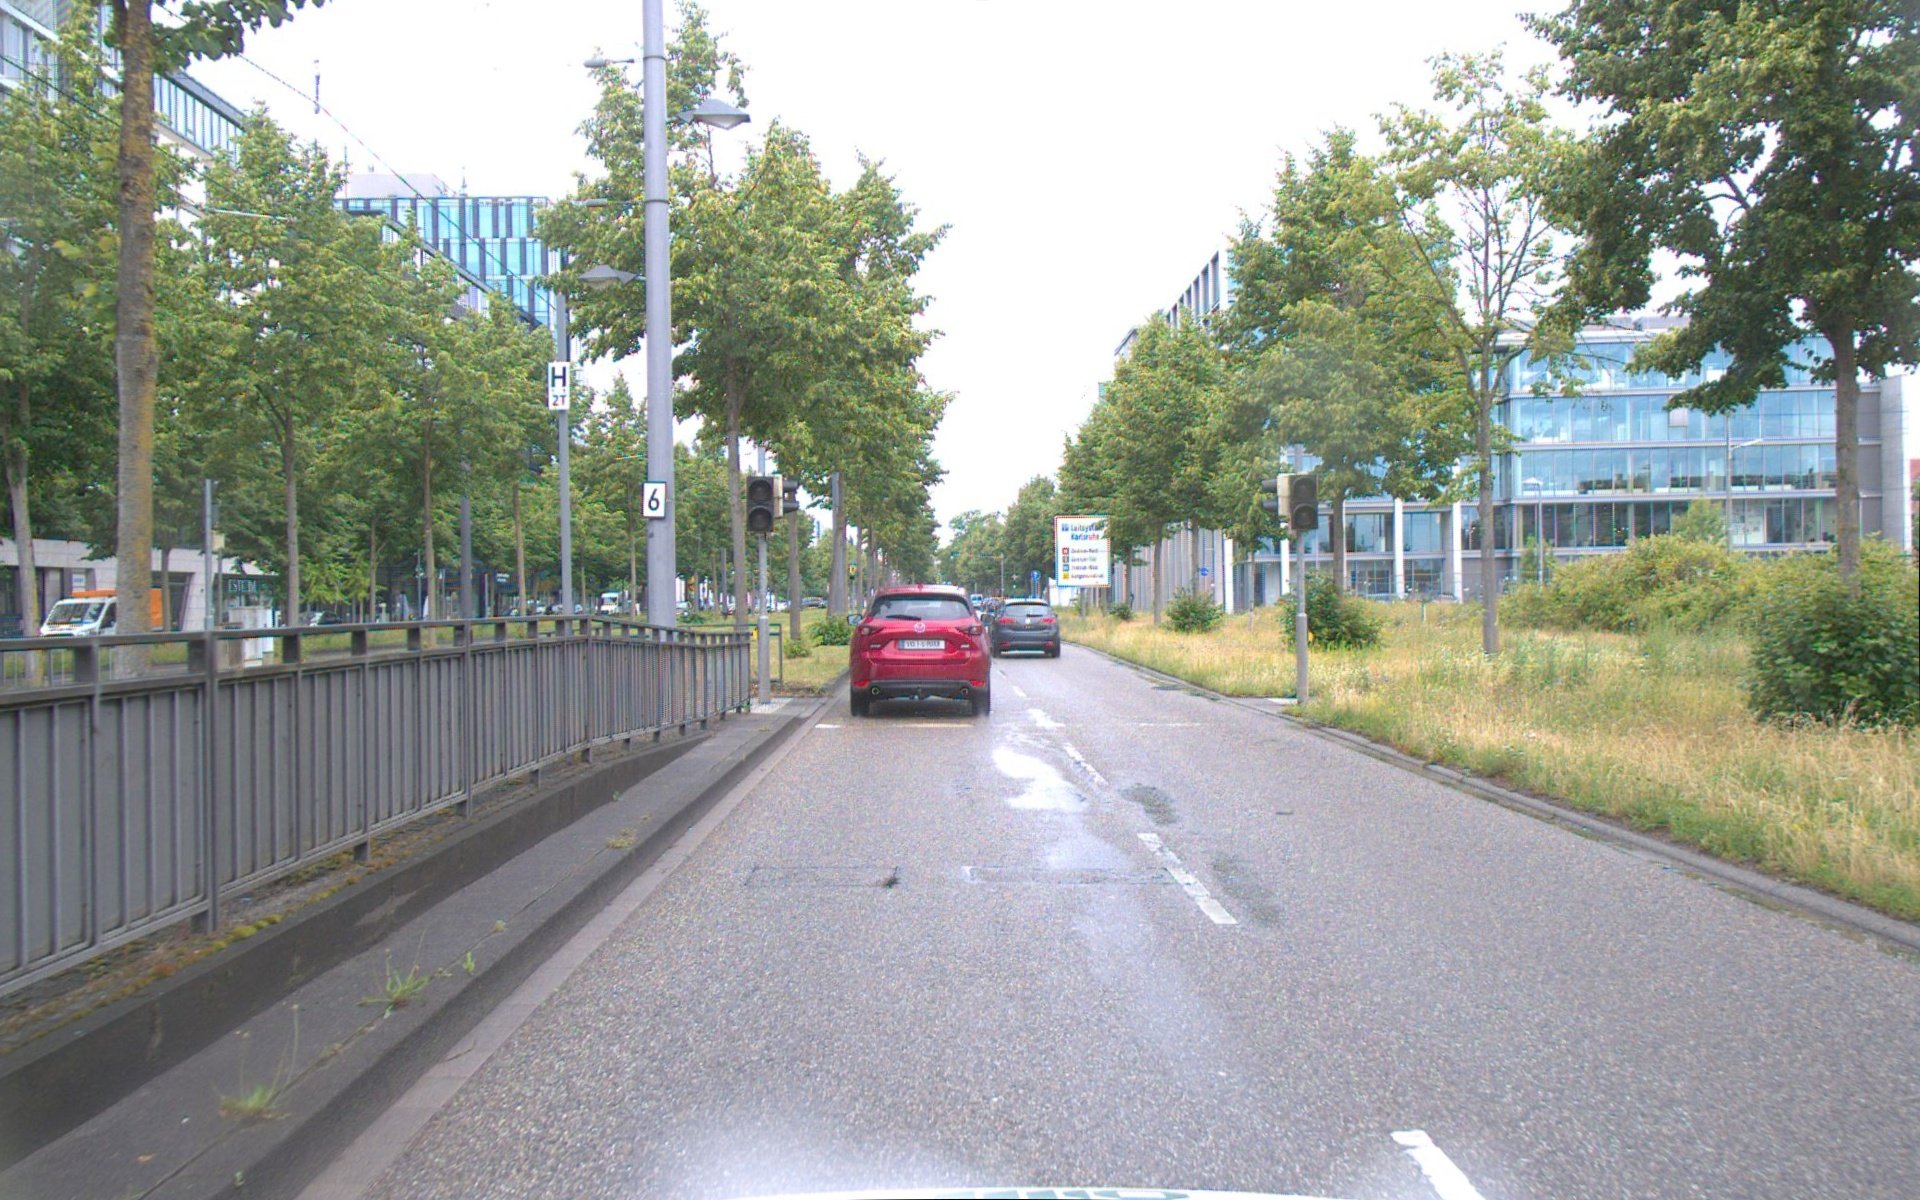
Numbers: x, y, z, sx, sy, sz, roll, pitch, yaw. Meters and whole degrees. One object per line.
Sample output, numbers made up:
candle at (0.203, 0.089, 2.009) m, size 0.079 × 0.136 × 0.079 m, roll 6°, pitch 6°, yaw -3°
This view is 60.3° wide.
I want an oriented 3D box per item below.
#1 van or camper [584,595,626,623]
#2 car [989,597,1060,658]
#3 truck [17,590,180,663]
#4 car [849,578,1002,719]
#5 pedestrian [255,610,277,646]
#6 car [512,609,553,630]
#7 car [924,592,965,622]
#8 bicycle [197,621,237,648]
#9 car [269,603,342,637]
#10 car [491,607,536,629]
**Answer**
van or camper at (-30.695, 0.747, 143.245) m, size 2.383 × 2.356 × 5.849 m, roll -1°, pitch 0°, yaw -1°
car at (1.620, 0.667, 42.449) m, size 1.708 × 1.490 × 3.781 m, roll 0°, pitch 0°, yaw 1°
truck at (-29.441, 0.854, 56.802) m, size 2.377 × 2.331 × 6.307 m, roll -1°, pitch 0°, yaw -1°
car at (-0.476, 0.591, 22.265) m, size 1.860 × 1.706 × 3.999 m, roll 0°, pitch 0°, yaw -2°
pedestrian at (-38.947, 1.571, 92.834) m, size 0.777 × 2.016 × 0.856 m, roll -1°, pitch 0°, yaw 7°
car at (-30.131, 1.338, 116.640) m, size 1.953 × 1.402 × 3.999 m, roll -1°, pitch 0°, yaw -1°
car at (-0.827, 0.354, 84.299) m, size 1.928 × 1.462 × 4.550 m, roll 1°, pitch 0°, yaw -2°
bicycle at (-27.208, 1.257, 60.592) m, size 0.586 × 0.962 × 1.758 m, roll -1°, pitch 0°, yaw 2°
car at (-29.374, 0.875, 74.350) m, size 1.817 × 1.490 × 3.987 m, roll 0°, pitch 0°, yaw -2°
car at (-29.680, 1.191, 110.035) m, size 1.953 × 1.402 × 3.999 m, roll 0°, pitch 0°, yaw -1°
